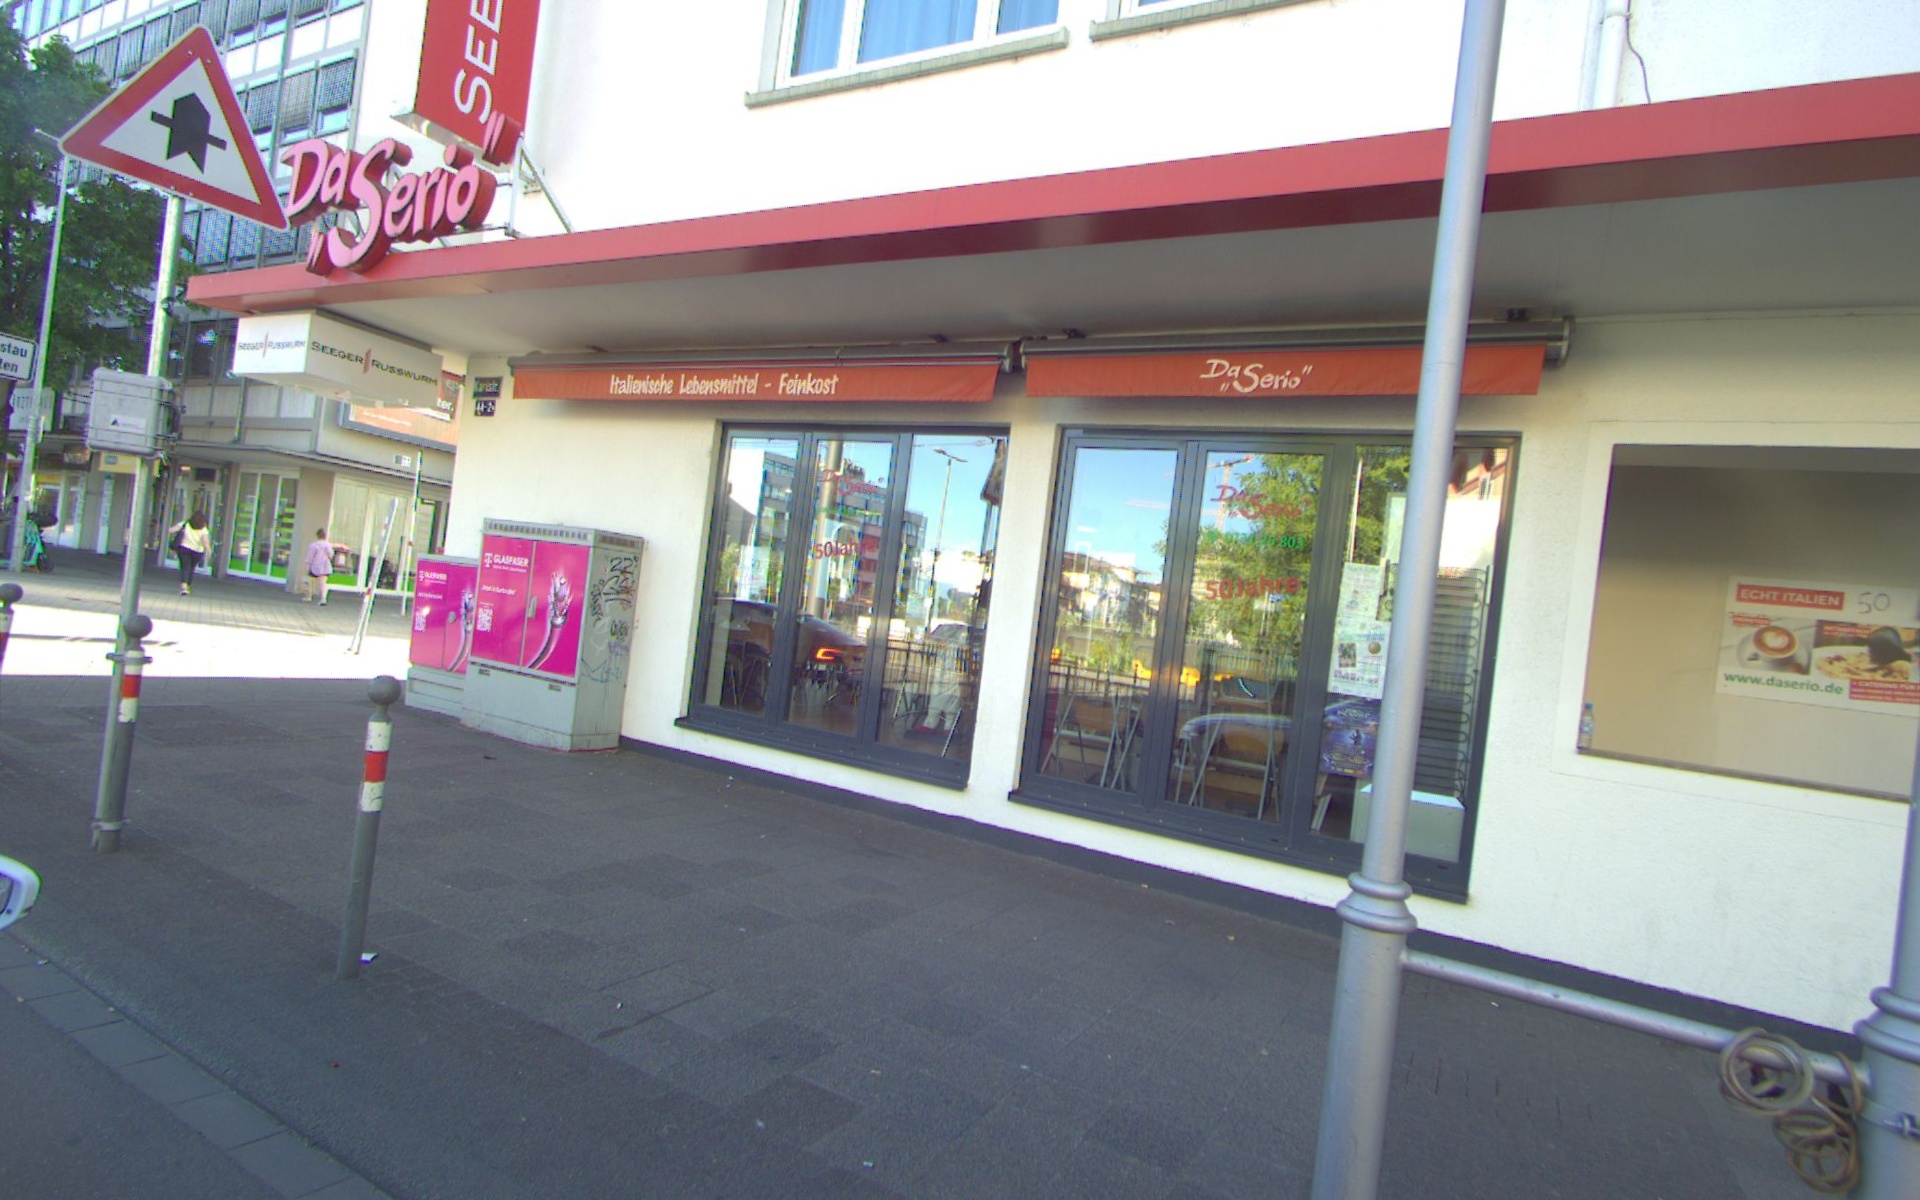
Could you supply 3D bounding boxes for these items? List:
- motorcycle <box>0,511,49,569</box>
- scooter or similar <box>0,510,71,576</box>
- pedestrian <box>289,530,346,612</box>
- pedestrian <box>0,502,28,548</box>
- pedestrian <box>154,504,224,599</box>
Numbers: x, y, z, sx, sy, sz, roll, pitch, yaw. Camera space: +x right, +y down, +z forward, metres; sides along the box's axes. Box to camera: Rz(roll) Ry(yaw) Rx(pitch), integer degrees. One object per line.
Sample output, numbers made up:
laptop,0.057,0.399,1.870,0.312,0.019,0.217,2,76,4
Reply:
motorcycle,-21.575,-1.405,22.407,0.532,1.186,1.711,7,-2,30
scooter or similar,-19.945,-1.236,21.178,1.628,1.229,0.640,8,-1,-29
pedestrian,-14.383,-0.642,22.524,0.884,1.687,0.801,8,-1,-35
pedestrian,-29.283,-2.325,31.142,0.504,1.359,0.390,6,-1,34
pedestrian,-15.614,-0.984,20.392,0.909,1.773,1.029,7,0,-35
